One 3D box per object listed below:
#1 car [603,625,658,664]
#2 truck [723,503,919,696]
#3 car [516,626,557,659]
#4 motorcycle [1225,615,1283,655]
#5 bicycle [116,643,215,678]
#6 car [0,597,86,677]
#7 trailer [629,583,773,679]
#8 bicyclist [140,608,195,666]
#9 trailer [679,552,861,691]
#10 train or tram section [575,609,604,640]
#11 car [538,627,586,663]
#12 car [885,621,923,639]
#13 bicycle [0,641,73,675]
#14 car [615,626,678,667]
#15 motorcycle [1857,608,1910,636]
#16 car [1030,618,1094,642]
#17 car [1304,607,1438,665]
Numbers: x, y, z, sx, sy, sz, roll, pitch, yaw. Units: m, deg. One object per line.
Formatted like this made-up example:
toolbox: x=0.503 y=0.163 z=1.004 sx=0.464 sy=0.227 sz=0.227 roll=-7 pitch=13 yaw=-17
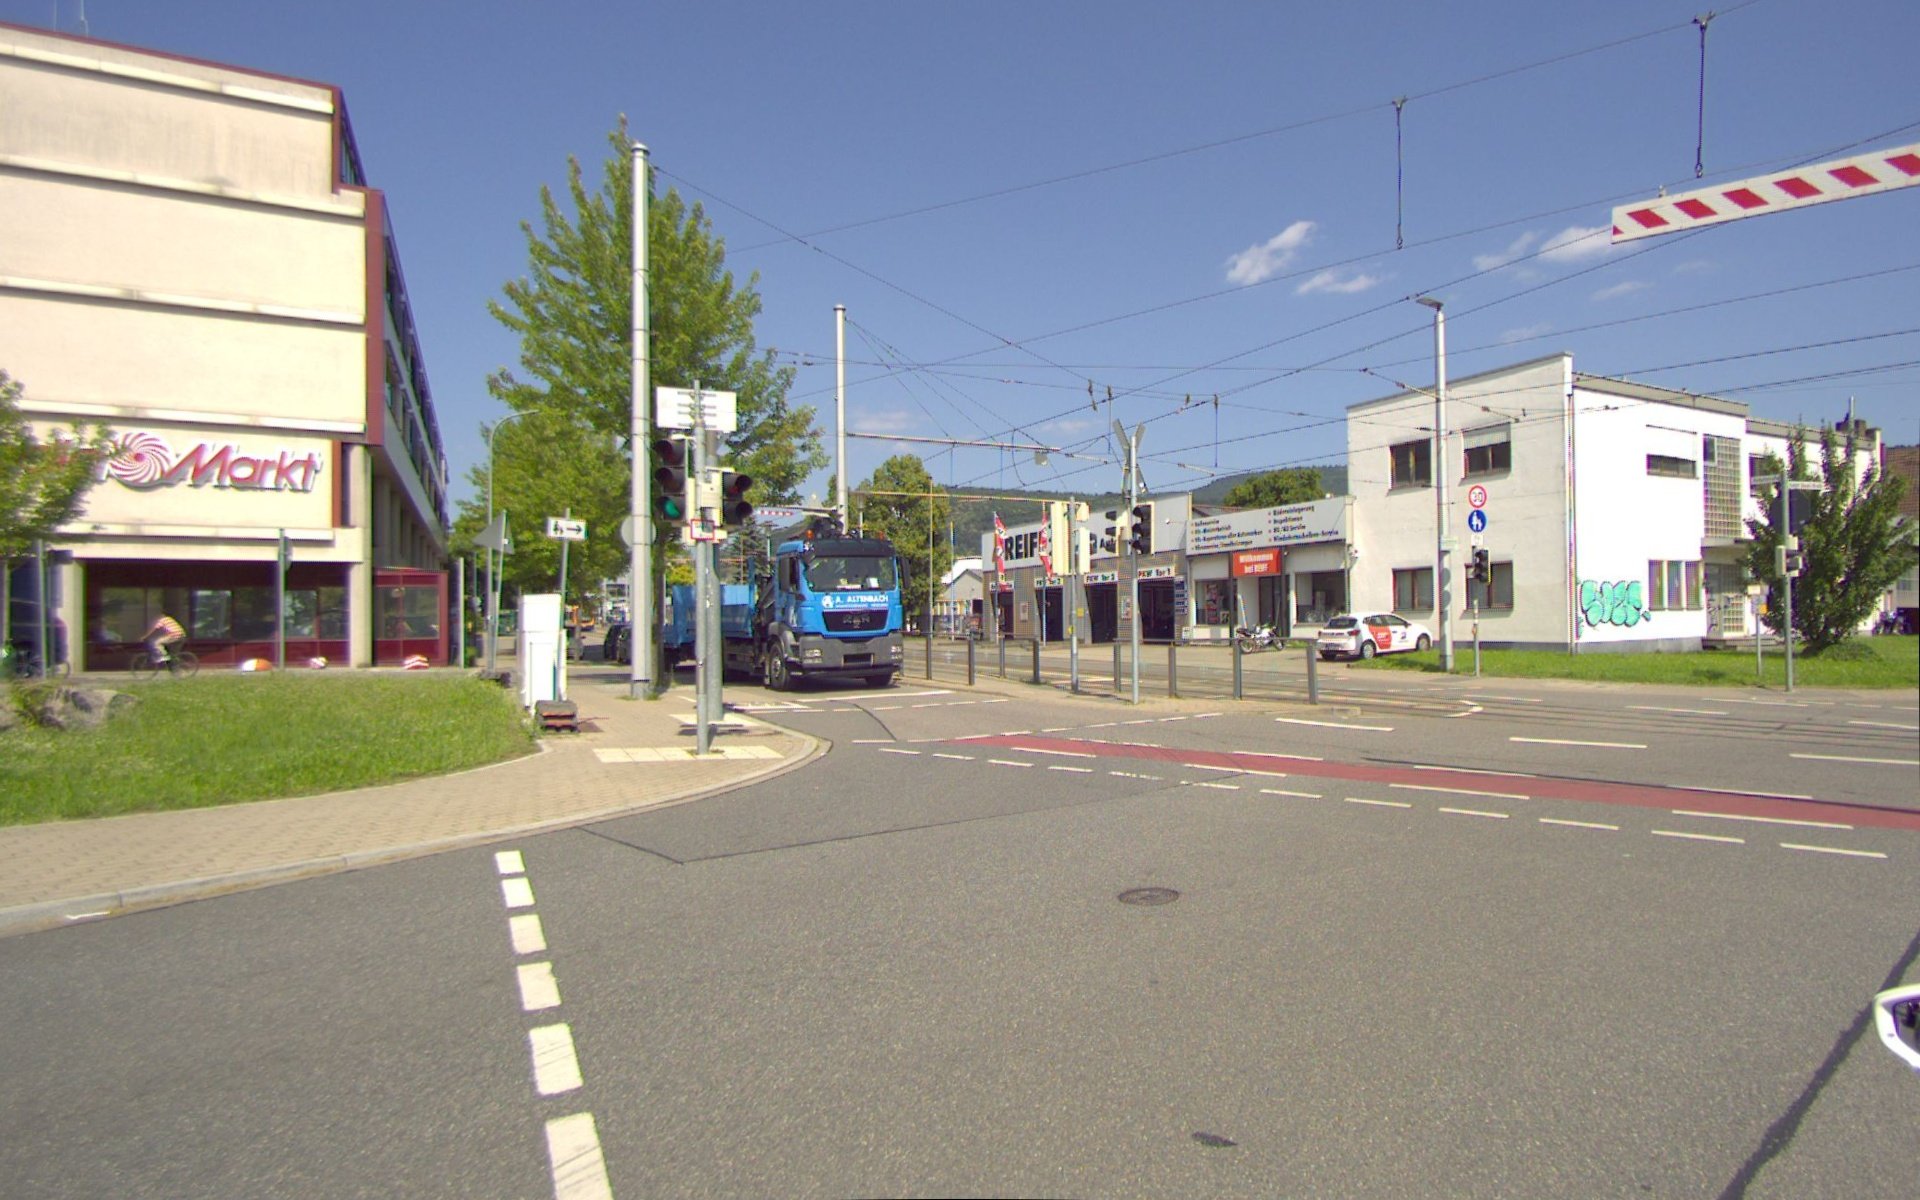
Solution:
car: x=-15.078 y=1.992 z=45.874 sx=1.706 sy=1.605 sz=4.043 roll=-3 pitch=0 yaw=-27
truck: x=-3.199 y=0.030 z=21.984 sx=2.717 sy=3.656 sz=5.004 roll=0 pitch=-1 yaw=-27
car: x=-21.140 y=2.079 z=50.072 sx=1.742 sy=1.539 sz=3.975 roll=0 pitch=-1 yaw=-26
motorcycle: x=10.972 y=1.306 z=37.458 sx=2.163 sy=1.326 sz=0.726 roll=-4 pitch=0 yaw=-29
bicycle: x=-20.230 y=1.537 z=25.612 sx=1.817 sy=0.860 sz=0.724 roll=2 pitch=0 yaw=-24
car: x=-20.897 y=0.735 z=19.933 sx=2.143 sy=1.615 sz=5.121 roll=-2 pitch=-4 yaw=11
trailer: x=-8.447 y=0.933 z=31.995 sx=2.771 sy=2.663 sz=7.546 roll=0 pitch=-1 yaw=-28
bicyclist: x=-20.196 y=0.938 z=25.613 sx=0.909 sy=1.467 sz=0.718 roll=1 pitch=0 yaw=-24
trailer: x=-5.056 y=0.526 z=25.613 sx=2.717 sy=3.017 sz=6.850 roll=0 pitch=-1 yaw=-27
train or tram section: x=-43.620 y=2.866 z=118.259 sx=2.586 sy=3.580 sz=5.703 roll=-1 pitch=-1 yaw=-27
car: x=-17.504 y=1.956 z=44.078 sx=1.705 sy=1.482 sz=3.879 roll=1 pitch=-2 yaw=-25
car: x=-4.665 y=2.477 z=83.030 sx=1.726 sy=1.479 sz=3.974 roll=0 pitch=-1 yaw=-26
bicycle: x=-24.204 y=1.502 z=26.178 sx=1.805 sy=0.804 sz=0.729 roll=1 pitch=0 yaw=14
car: x=-12.736 y=1.848 z=40.645 sx=1.706 sy=1.492 sz=4.249 roll=-2 pitch=0 yaw=-27
motorcycle: x=36.022 y=0.870 z=39.185 sx=2.538 sy=1.046 sz=0.847 roll=2 pitch=-1 yaw=-31
car: x=6.359 y=1.858 z=62.538 sx=3.731 sy=1.394 sz=1.711 roll=0 pitch=-1 yaw=-32
car: x=13.228 y=1.125 z=32.278 sx=3.950 sy=1.482 sz=1.876 roll=-4 pitch=1 yaw=-29
